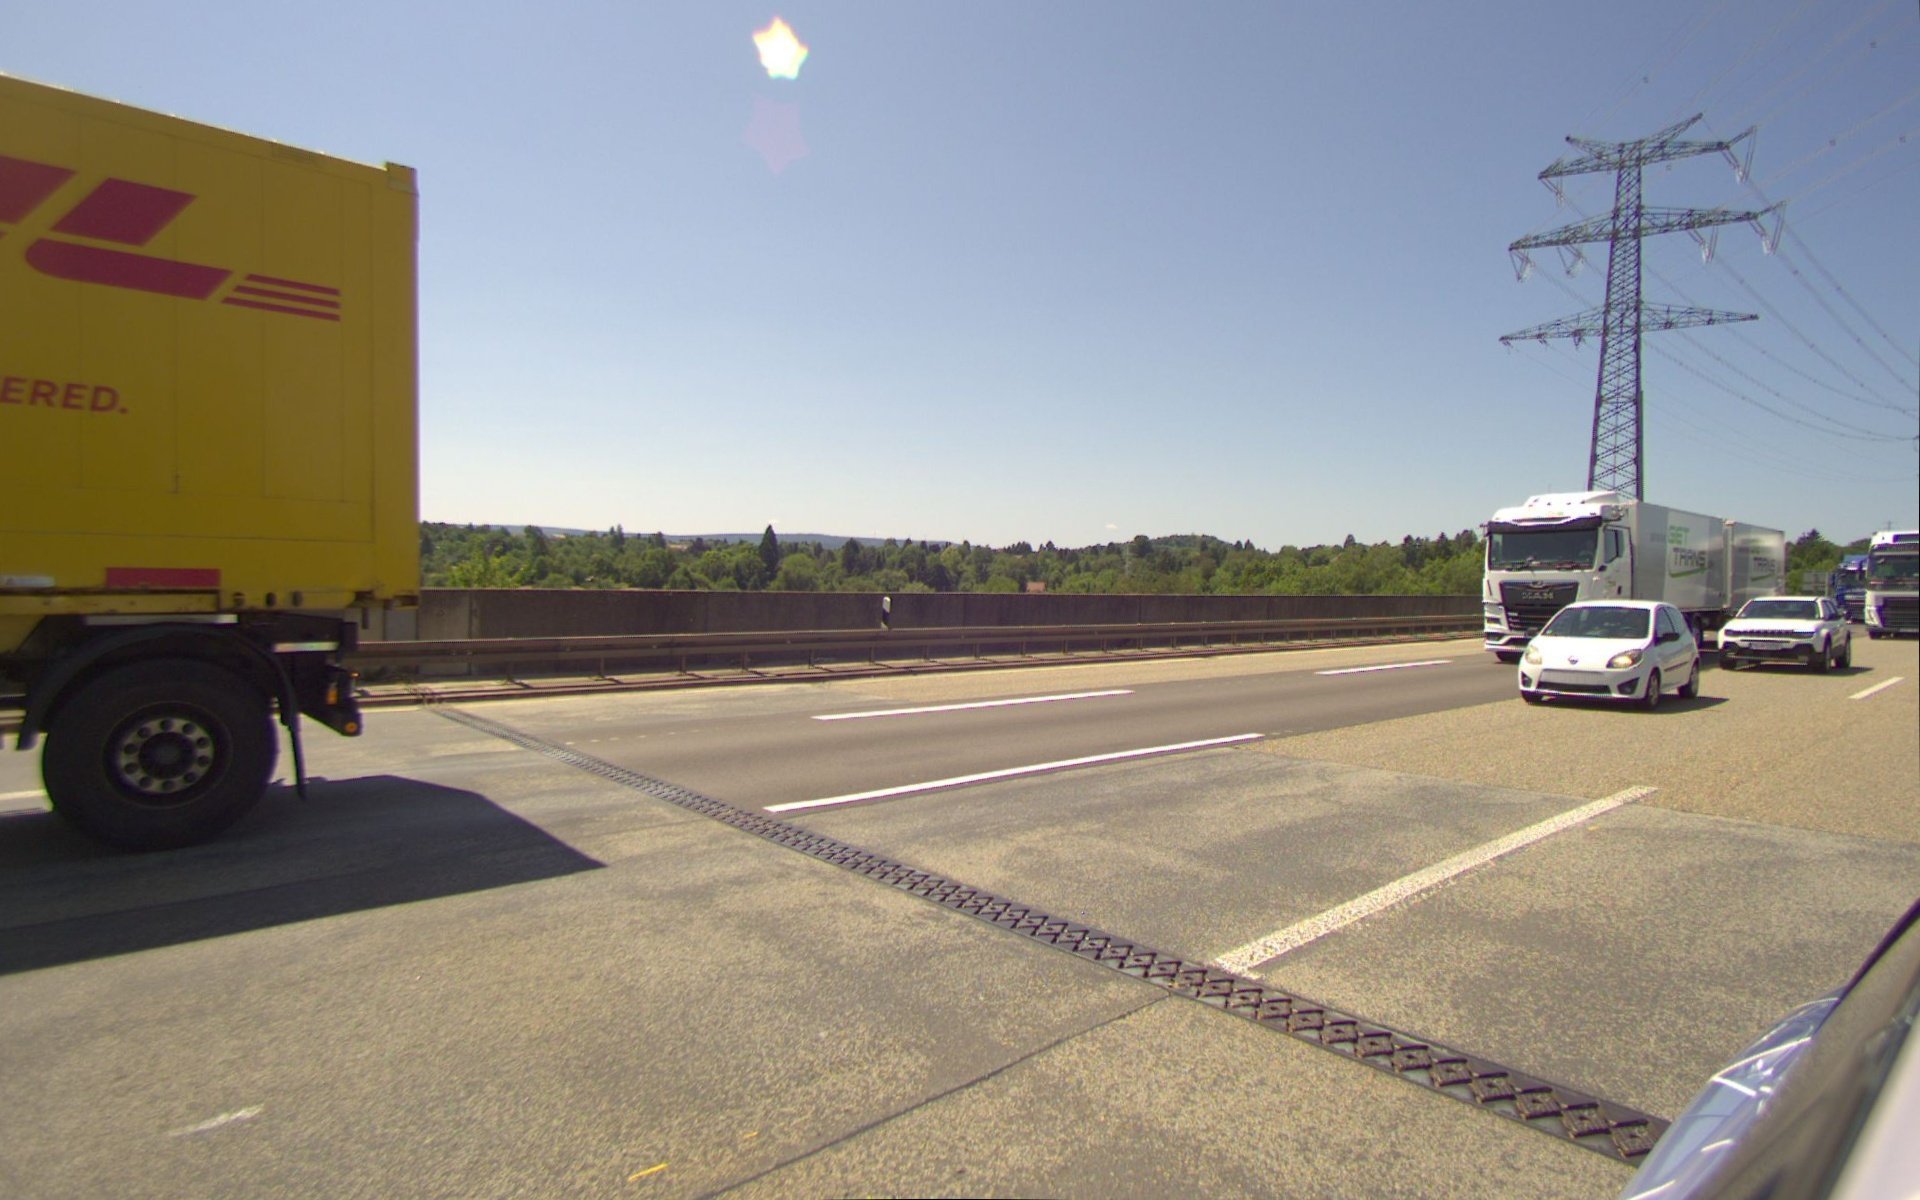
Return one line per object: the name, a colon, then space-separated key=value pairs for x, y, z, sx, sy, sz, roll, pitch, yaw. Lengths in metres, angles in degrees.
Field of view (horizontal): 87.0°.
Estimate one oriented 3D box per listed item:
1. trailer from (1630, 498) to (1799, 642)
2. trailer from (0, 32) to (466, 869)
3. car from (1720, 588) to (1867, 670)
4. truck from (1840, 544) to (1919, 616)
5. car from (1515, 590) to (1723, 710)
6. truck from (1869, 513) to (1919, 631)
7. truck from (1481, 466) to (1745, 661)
trailer: x=23.657 y=-0.850 z=31.565 sx=7.639 sy=3.991 sz=2.749 roll=0 pitch=0 yaw=-42
trailer: x=-7.511 y=-0.744 z=4.459 sx=9.215 sy=4.169 sz=2.769 roll=0 pitch=0 yaw=-42
car: x=17.566 y=0.529 z=21.288 sx=3.784 sy=1.549 sz=1.775 roll=-1 pitch=1 yaw=-41
truck: x=54.611 y=-1.183 z=59.614 sx=11.081 sy=3.929 sz=2.837 roll=-1 pitch=1 yaw=-42
car: x=9.750 y=0.622 z=14.875 sx=3.760 sy=1.529 sz=1.658 roll=-1 pitch=1 yaw=-42
truck: x=38.833 y=-0.989 z=39.894 sx=14.005 sy=4.090 sz=2.716 roll=0 pitch=0 yaw=-41
truck: x=16.675 y=-0.778 z=25.312 sx=11.102 sy=3.980 sz=2.693 roll=0 pitch=0 yaw=-42
